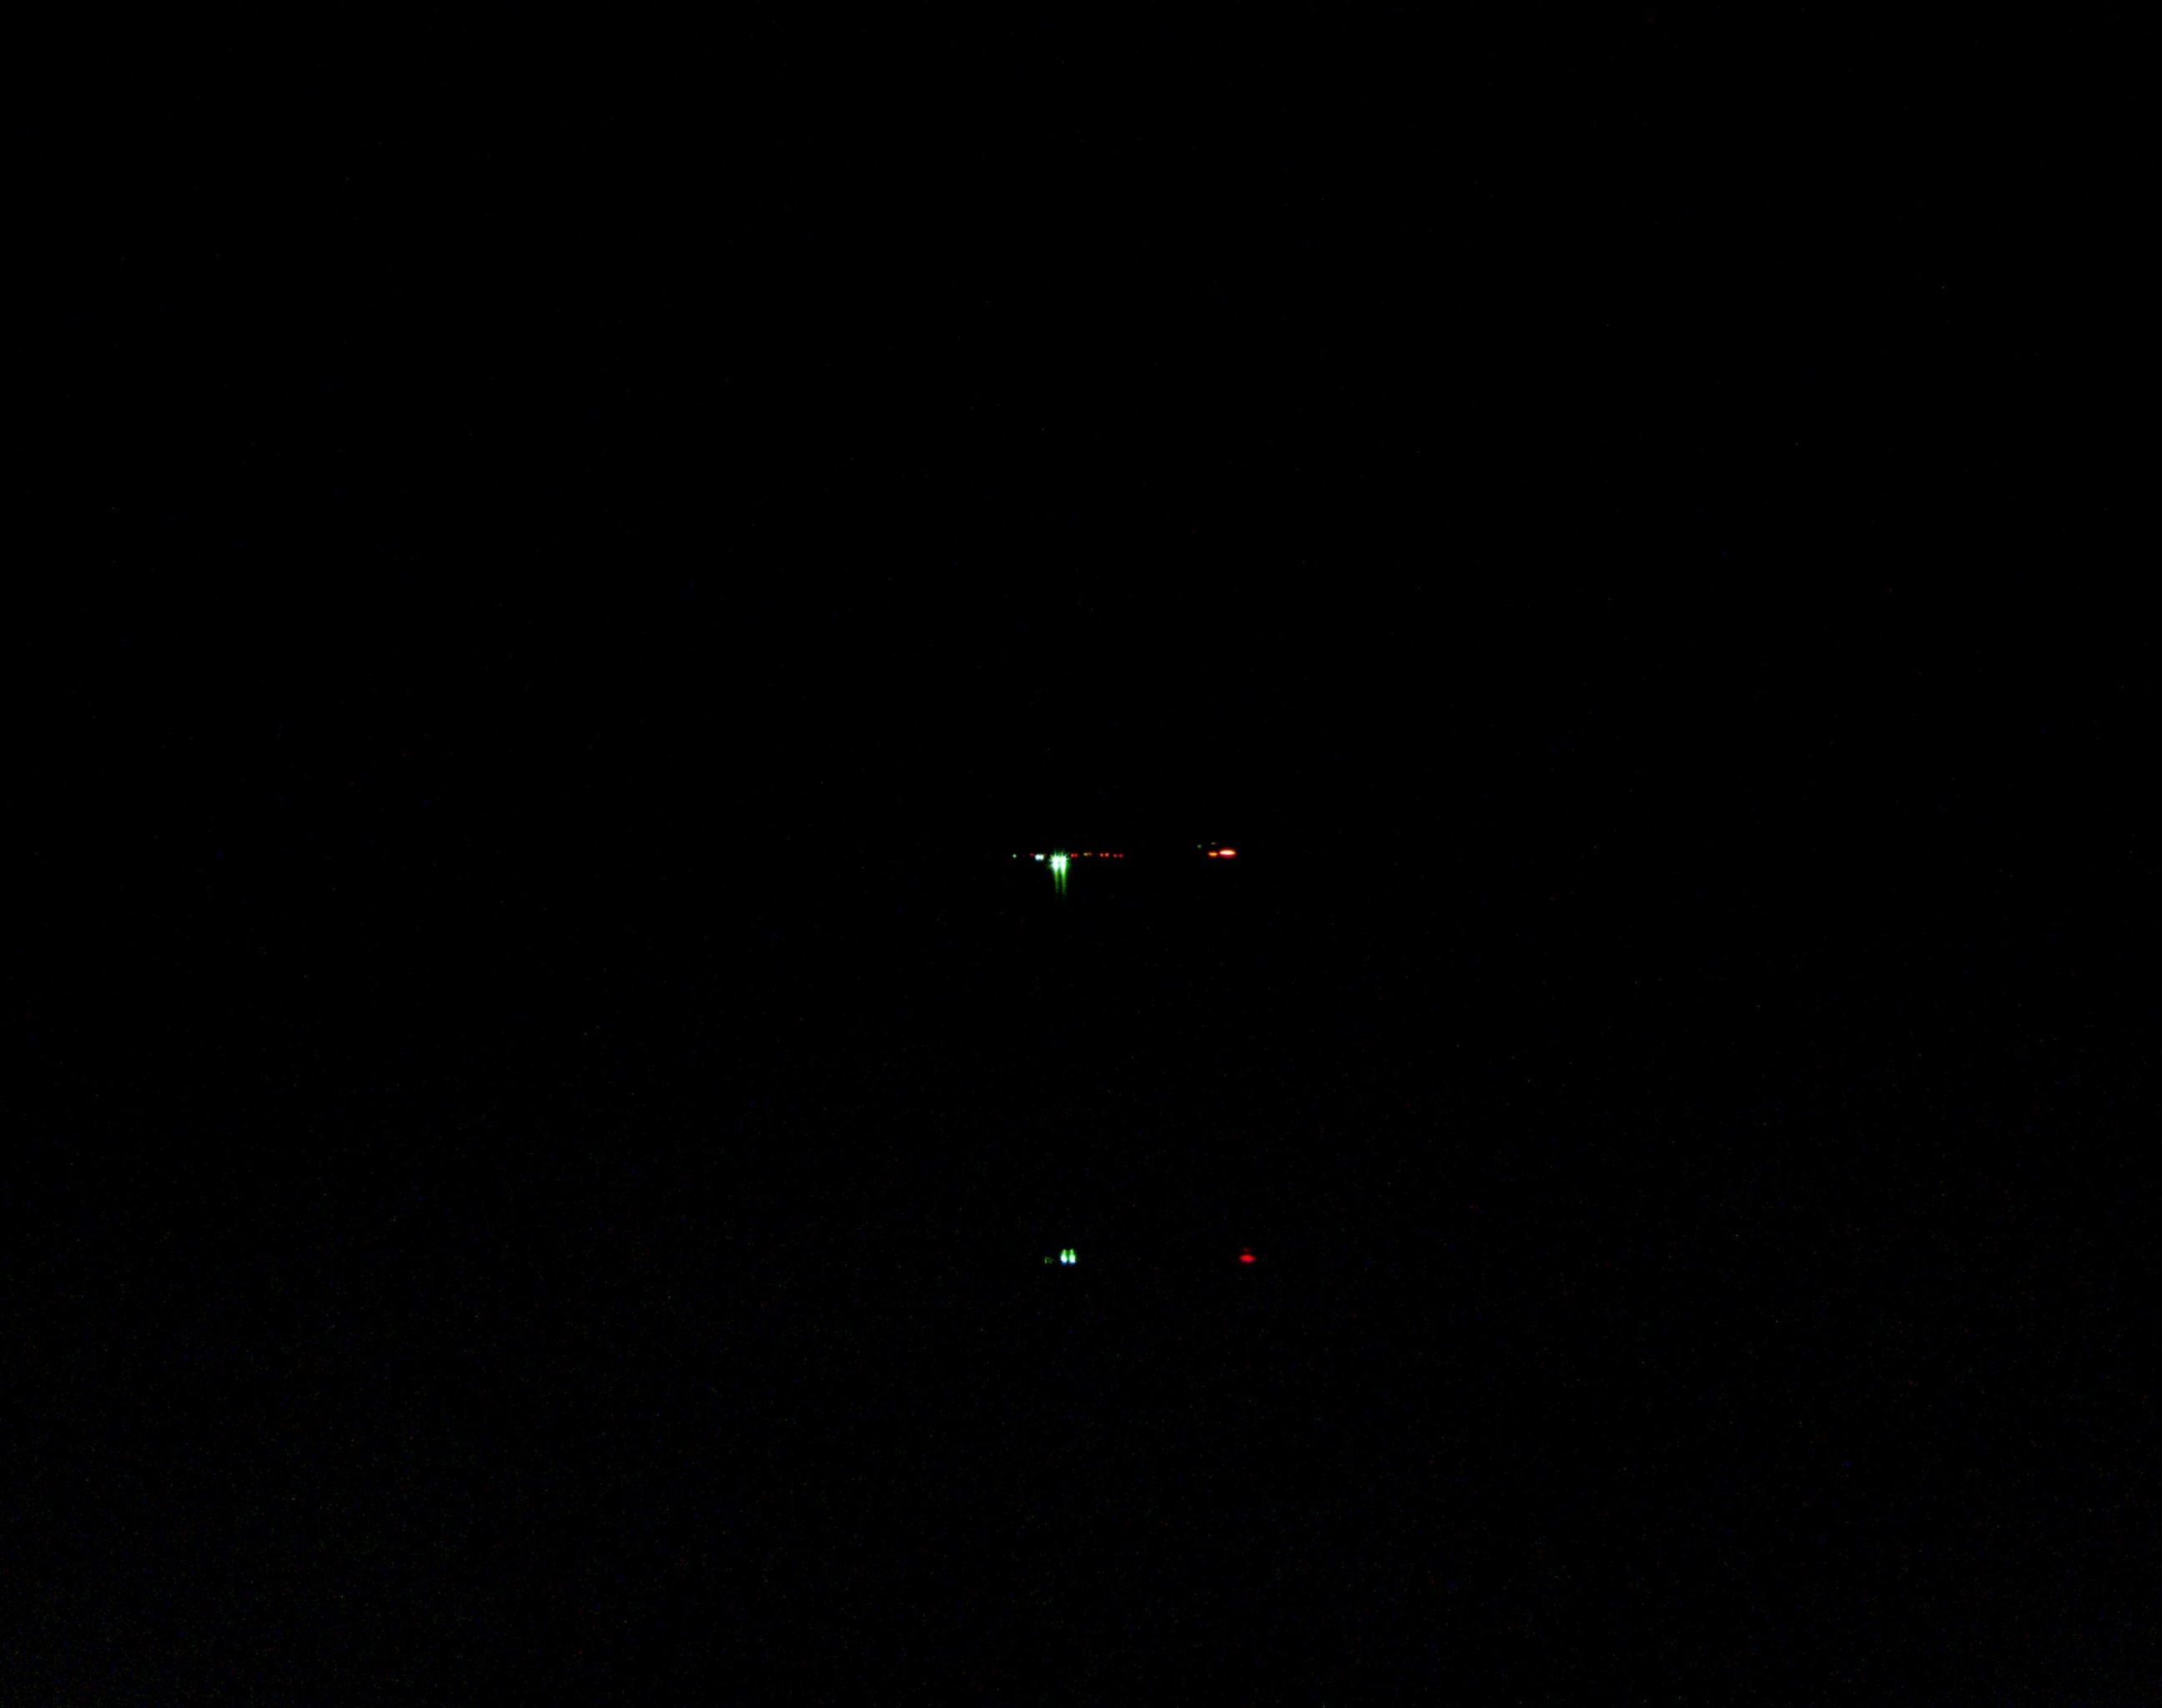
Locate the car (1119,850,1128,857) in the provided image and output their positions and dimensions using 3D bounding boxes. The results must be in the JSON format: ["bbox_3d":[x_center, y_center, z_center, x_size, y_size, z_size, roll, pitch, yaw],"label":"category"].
[{"bbox_3d":[10.185,-0.116,180.643,1.750,1.636,3.741,-2,1,-3],"label":"car"}]

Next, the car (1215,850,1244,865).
[{"bbox_3d":[14.982,0.322,77.014,1.999,1.460,4.398,-2,1,-1],"label":"car"}]

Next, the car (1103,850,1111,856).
[{"bbox_3d":[8.081,-0.195,236.948,1.999,1.811,5.684,-2,1,-4],"label":"car"}]

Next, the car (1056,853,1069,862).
[{"bbox_3d":[-3.512,0.664,142.940,2.155,1.558,4.580,-2,1,-3],"label":"car"}]

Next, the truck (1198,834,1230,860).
[{"bbox_3d":[20.828,-1.079,119.689,3.512,3.947,6.697,-2,1,-2],"label":"truck"}]

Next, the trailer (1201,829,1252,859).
[{"bbox_3d":[21.099,-1.484,111.622,3.552,3.977,17.277,-2,1,-2],"label":"trailer"}]
